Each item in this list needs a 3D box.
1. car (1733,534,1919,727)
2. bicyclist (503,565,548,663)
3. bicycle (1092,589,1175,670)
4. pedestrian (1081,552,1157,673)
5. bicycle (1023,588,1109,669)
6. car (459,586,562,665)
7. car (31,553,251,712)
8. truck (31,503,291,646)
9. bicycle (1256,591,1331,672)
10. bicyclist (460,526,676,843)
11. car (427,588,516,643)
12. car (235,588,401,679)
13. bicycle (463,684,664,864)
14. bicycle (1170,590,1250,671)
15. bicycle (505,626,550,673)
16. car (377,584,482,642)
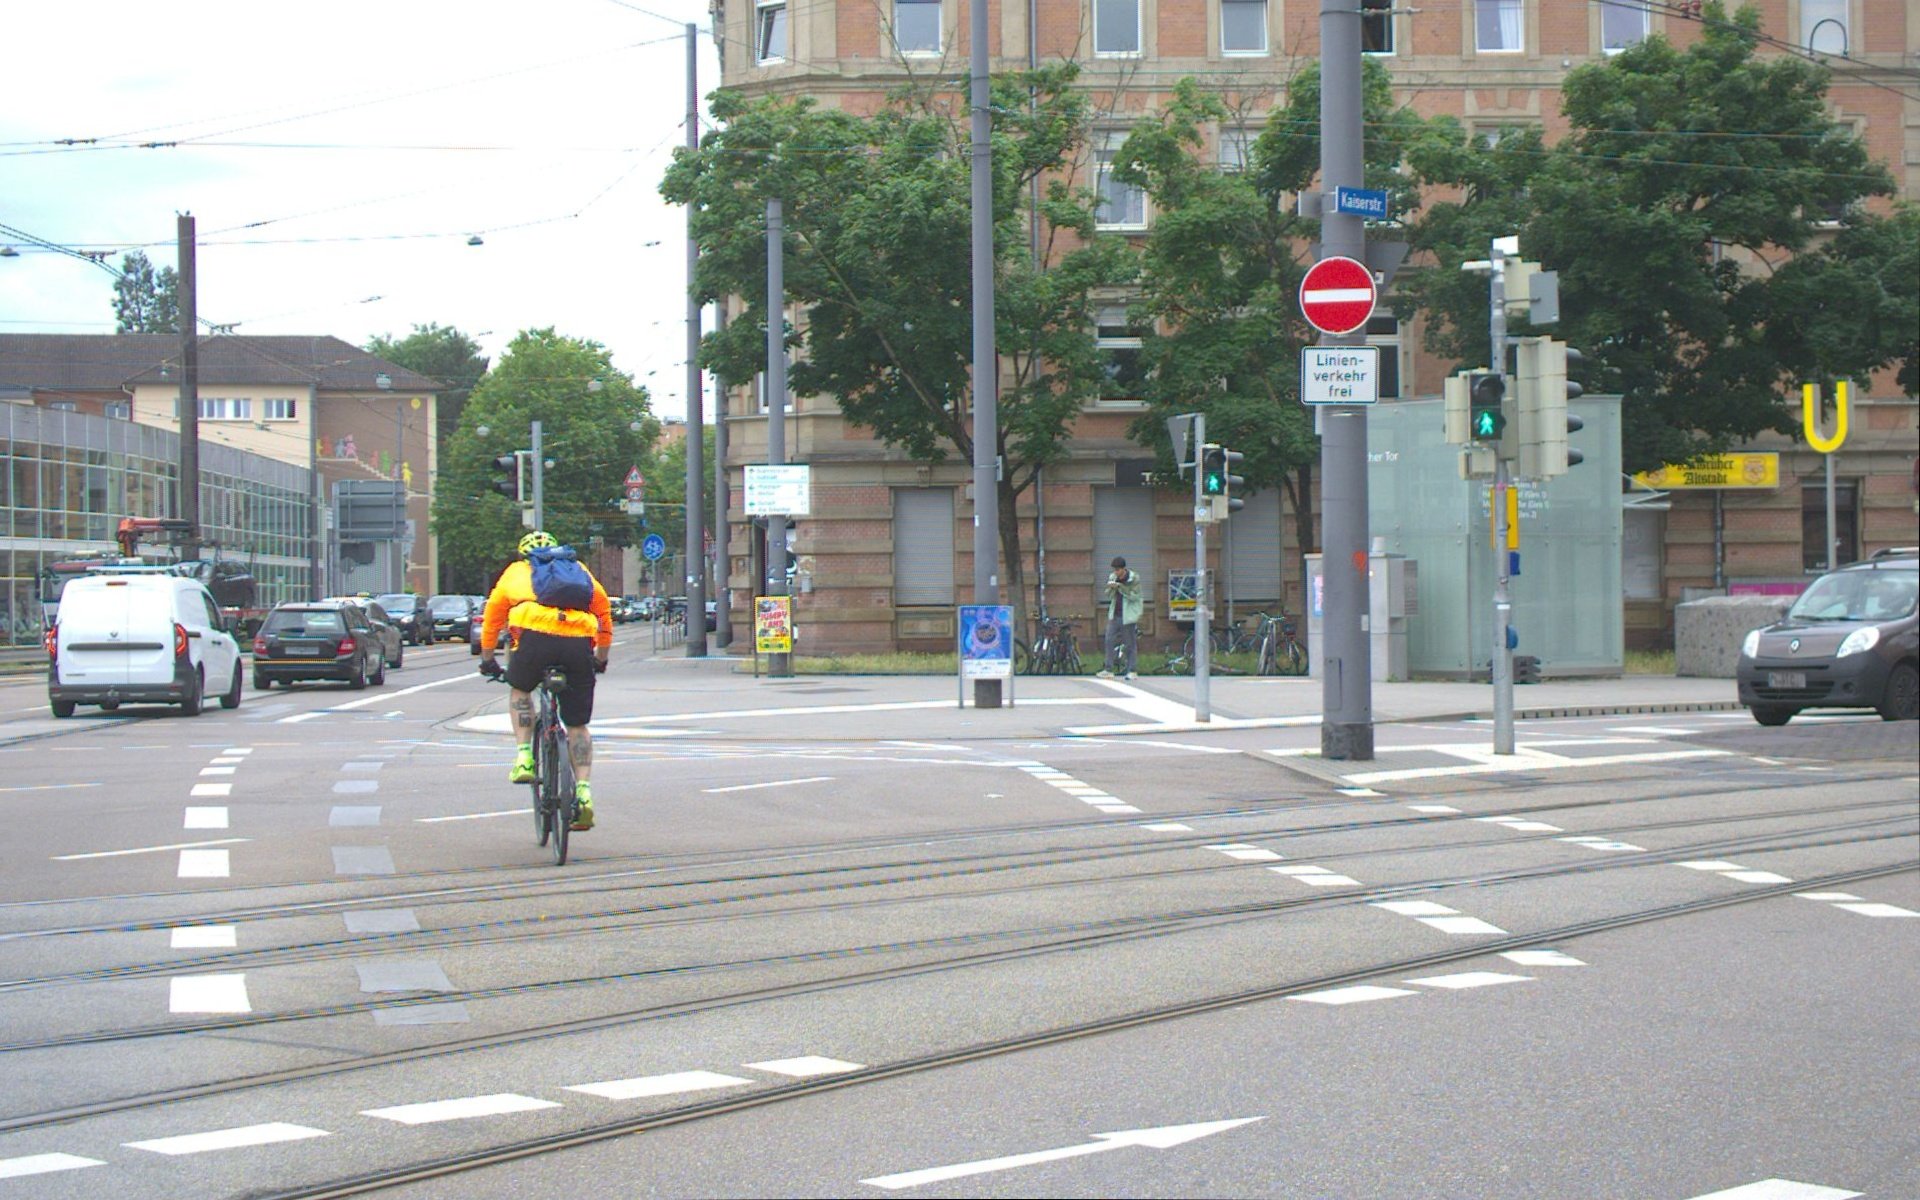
[{"bbox_3d":[10.061,0.299,35.914,4.374,1.894,1.693,0,0,-43],"label":"car"},{"bbox_3d":[-7.639,0.239,60.364,0.687,1.702,0.799,-1,0,-13],"label":"bicyclist"},{"bbox_3d":[2.995,0.503,59.041,0.958,1.349,3.119,0,0,11],"label":"bicycle"},{"bbox_3d":[2.267,0.176,49.169,0.909,1.722,0.602,0,0,-21],"label":"pedestrian"},{"bbox_3d":[1.838,0.492,59.156,0.958,1.349,3.119,0,0,11],"label":"bicycle"},{"bbox_3d":[-11.802,0.672,90.461,1.994,2.007,3.999,1,0,3],"label":"car"},{"bbox_3d":[-10.446,0.393,44.145,1.912,1.934,4.131,0,0,-1],"label":"car"},{"bbox_3d":[-20.817,-0.607,90.271,2.795,3.537,9.218,0,0,13],"label":"truck"},{"bbox_3d":[5.755,0.532,59.169,0.958,1.349,3.119,0,0,11],"label":"bicycle"},{"bbox_3d":[-2.102,0.428,18.293,0.827,1.615,1.322,-1,0,-21],"label":"bicyclist"},{"bbox_3d":[-16.653,0.499,117.387,1.994,1.832,4.522,0,0,5],"label":"car"},{"bbox_3d":[-10.367,0.519,55.780,1.993,1.415,4.000,-1,0,-1],"label":"car"},{"bbox_3d":[-2.127,0.893,18.223,0.556,0.845,2.074,-1,0,-21],"label":"bicycle"},{"bbox_3d":[4.301,0.516,58.930,0.958,1.349,3.119,0,0,11],"label":"bicycle"},{"bbox_3d":[-7.594,0.862,60.332,0.619,0.791,1.592,-1,0,-13],"label":"bicycle"},{"bbox_3d":[-17.003,0.402,110.346,1.994,1.832,4.521,0,0,10],"label":"car"}]
